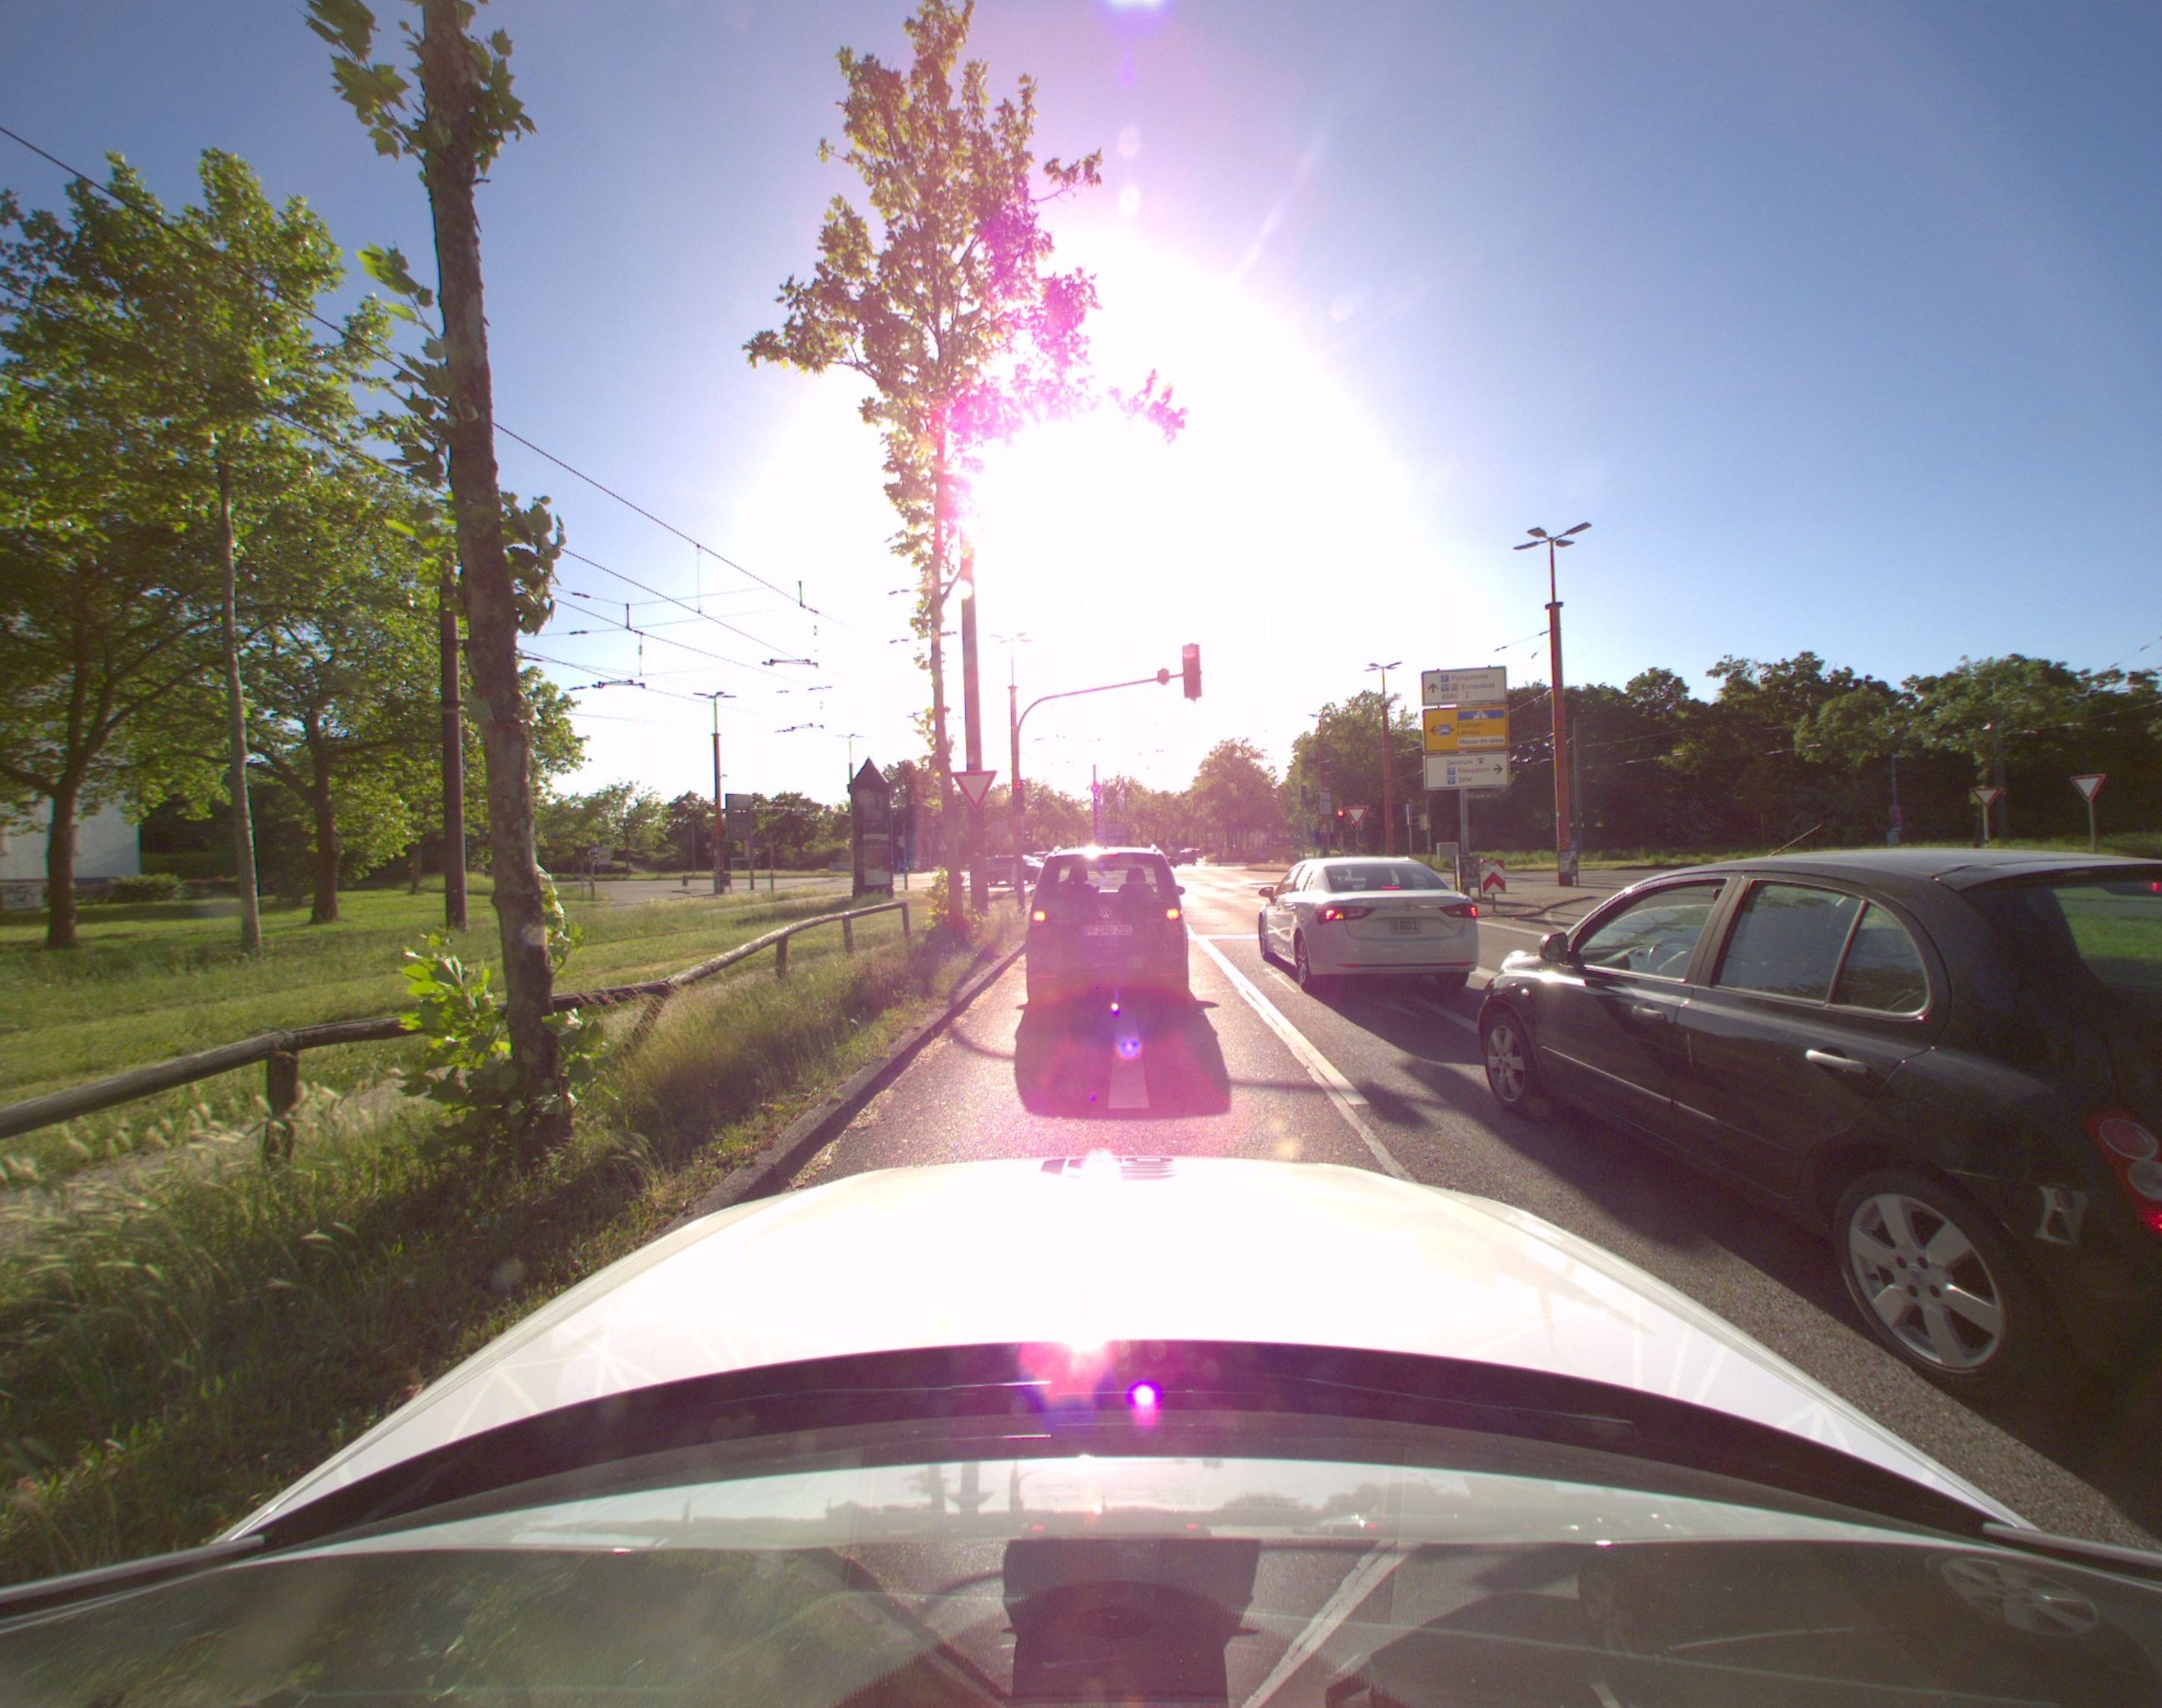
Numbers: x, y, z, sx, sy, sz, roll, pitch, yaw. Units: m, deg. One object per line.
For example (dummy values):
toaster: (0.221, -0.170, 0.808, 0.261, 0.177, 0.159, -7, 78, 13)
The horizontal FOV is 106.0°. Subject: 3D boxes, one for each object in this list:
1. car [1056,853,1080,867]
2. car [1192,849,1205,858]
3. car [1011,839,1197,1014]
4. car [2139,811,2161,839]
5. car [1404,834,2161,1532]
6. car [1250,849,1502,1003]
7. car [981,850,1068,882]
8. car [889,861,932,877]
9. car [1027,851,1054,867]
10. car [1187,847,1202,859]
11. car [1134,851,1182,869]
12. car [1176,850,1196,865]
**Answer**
car: (-1.445, 0.656, 91.603, 1.756, 1.538, 4.104, -2, 0, 11)
car: (18.242, -0.046, 126.547, 1.780, 1.388, 4.057, -1, 1, 6)
car: (0.321, 0.689, 10.366, 1.761, 1.644, 4.926, -2, 0, 2)
car: (59.524, -1.630, 42.857, 4.234, 1.495, 2.013, -2, 0, 29)
car: (3.258, 0.684, 3.870, 1.728, 1.482, 4.625, -2, 0, 2)
car: (3.336, 0.694, 10.146, 1.760, 1.464, 4.370, -2, 0, 3)
car: (-3.327, 0.710, 47.879, 4.634, 1.704, 2.012, -2, 0, 27)
car: (-20.380, 1.718, 97.163, 4.662, 1.726, 1.892, -2, 0, -26)
car: (-4.622, 0.602, 94.329, 1.889, 1.726, 4.669, -2, 0, 12)
car: (15.140, -0.167, 108.869, 1.781, 1.502, 4.056, -1, 1, 5)
car: (6.597, 0.505, 69.473, 4.070, 1.388, 1.775, -1, 1, -39)
car: (10.736, 0.351, 83.370, 1.781, 1.388, 4.054, -1, 1, 4)
